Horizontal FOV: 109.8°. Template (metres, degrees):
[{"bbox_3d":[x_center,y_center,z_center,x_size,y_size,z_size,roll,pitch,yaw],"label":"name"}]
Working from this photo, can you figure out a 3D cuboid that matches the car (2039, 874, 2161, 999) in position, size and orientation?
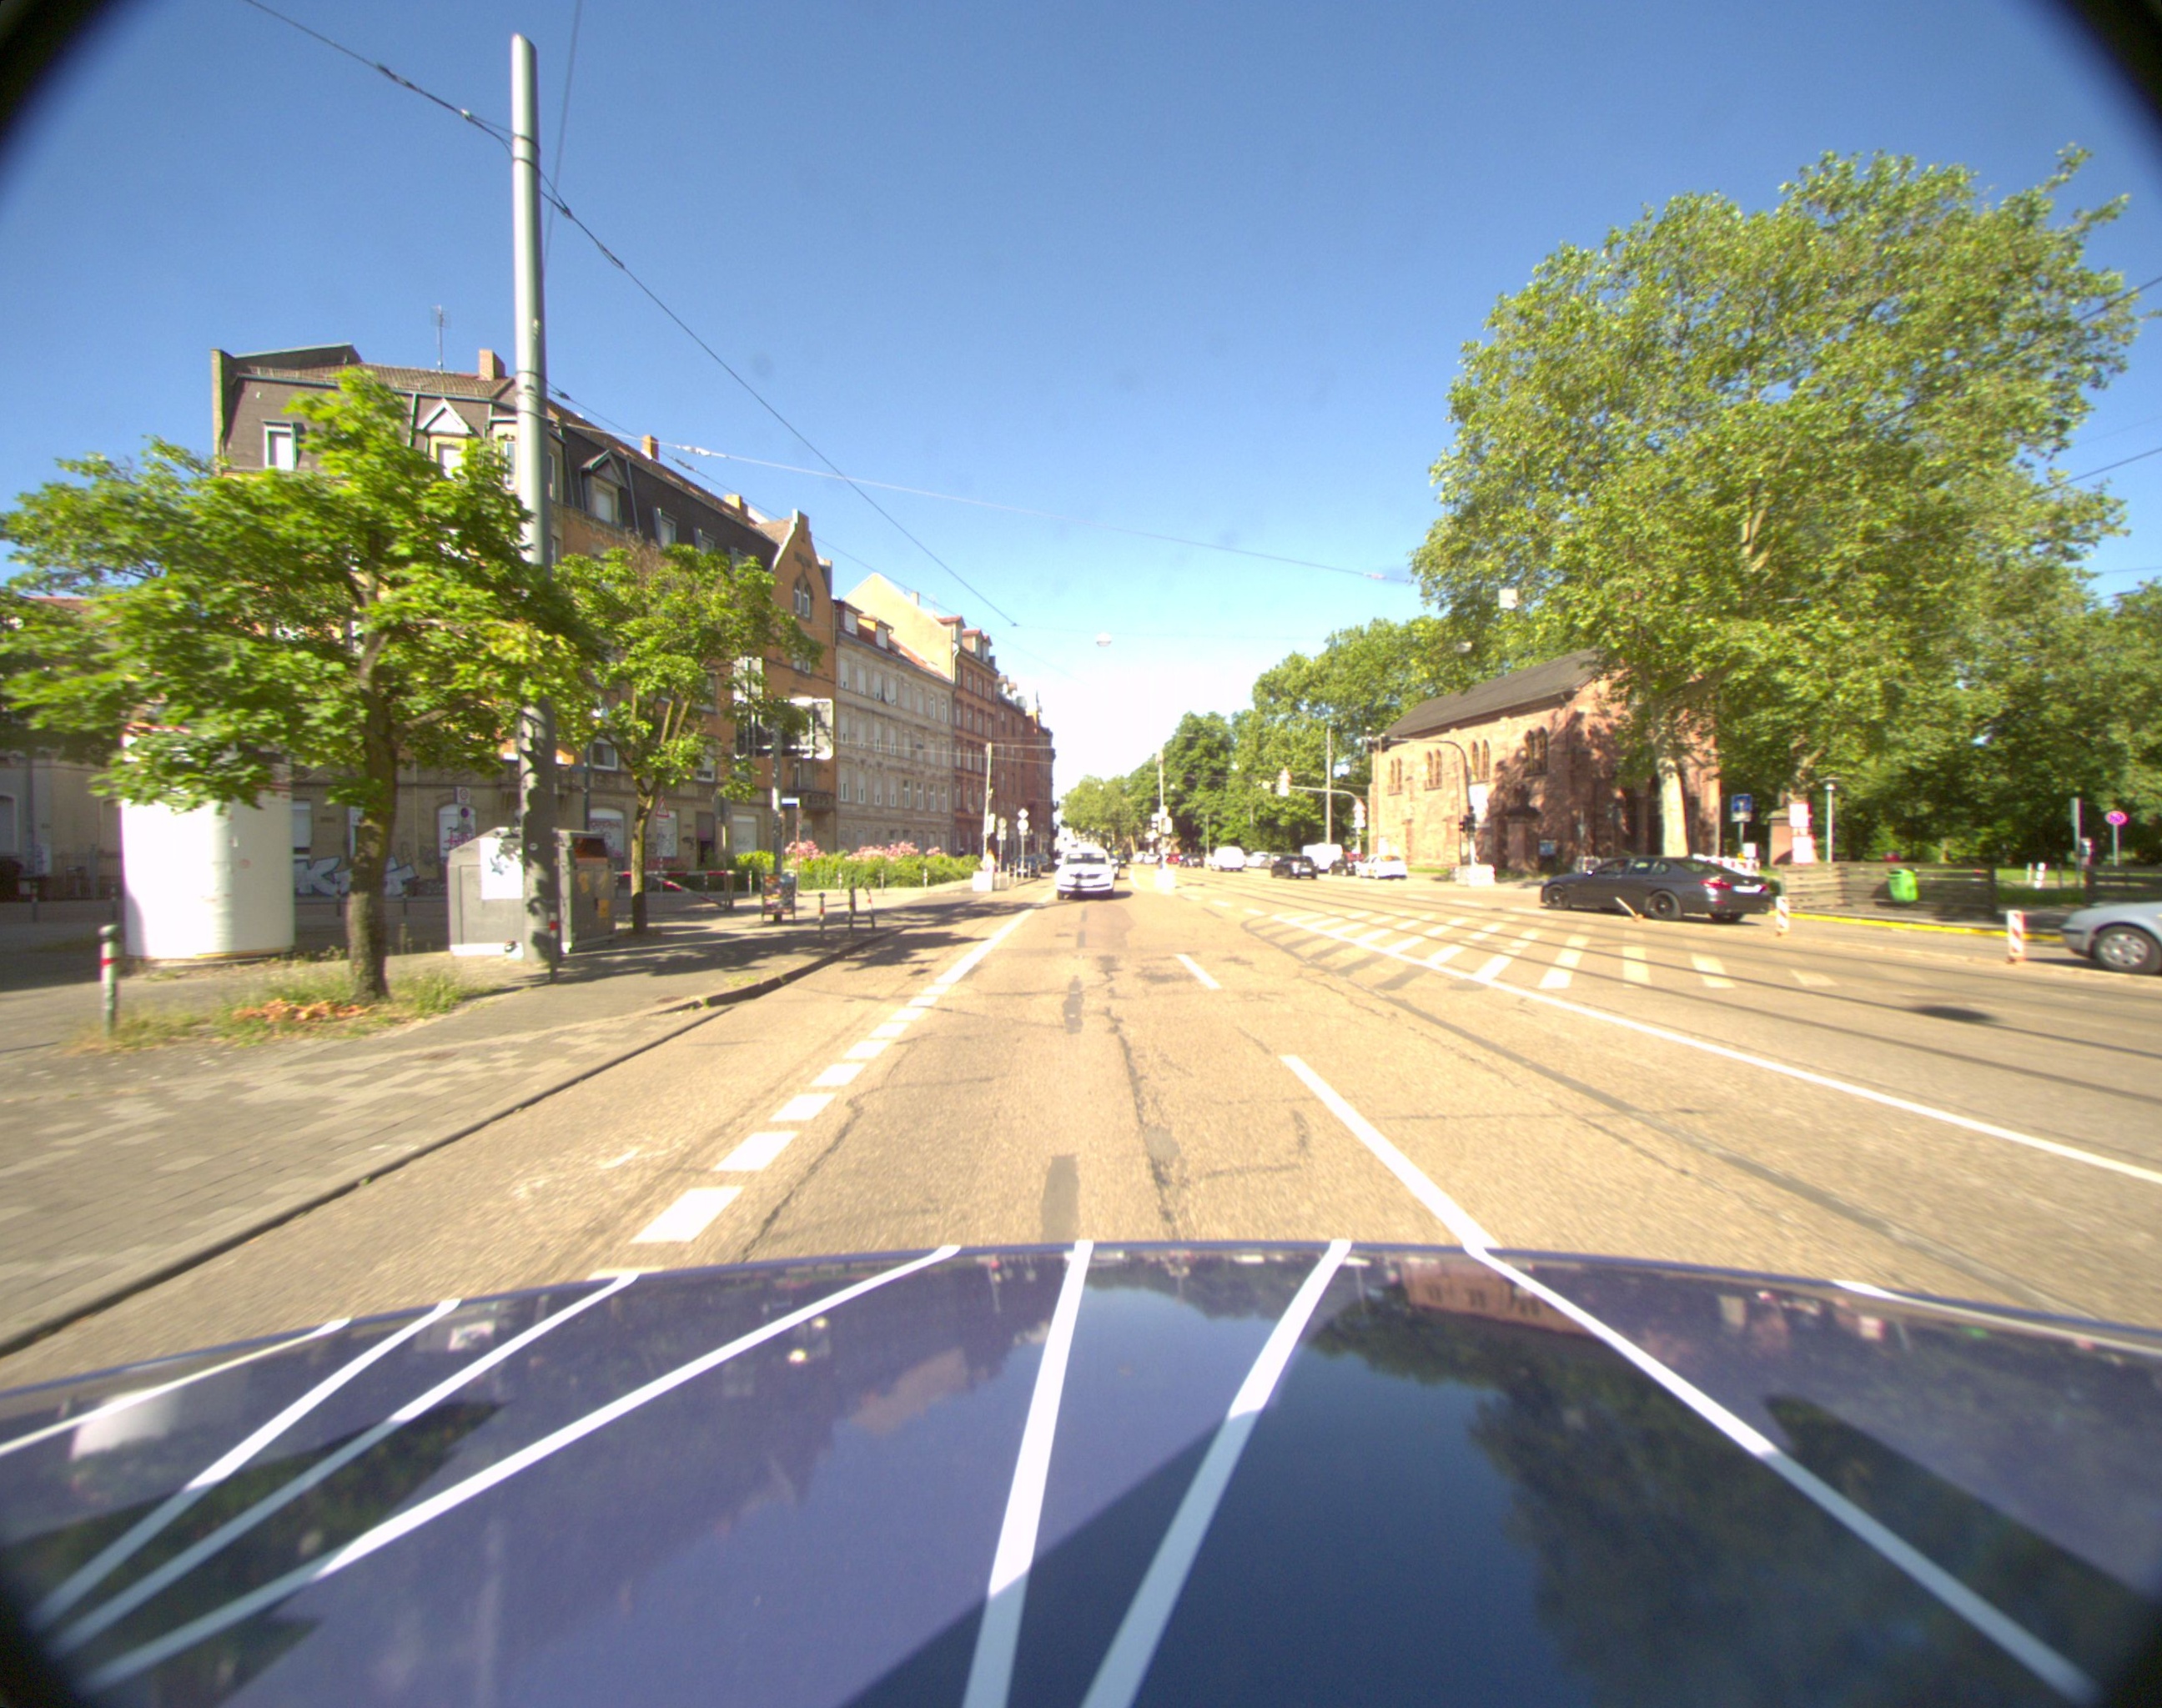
[{"bbox_3d":[13.720,1.017,8.049,1.834,1.444,4.170,1,1,0],"label":"car"}]

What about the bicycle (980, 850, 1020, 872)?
[{"bbox_3d":[-6.025,0.466,57.244,1.968,1.408,6.827,3,1,2],"label":"bicycle"}]

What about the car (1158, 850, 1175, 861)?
[{"bbox_3d":[12.140,0.141,108.422,1.795,1.543,4.306,0,1,-2],"label":"car"}]

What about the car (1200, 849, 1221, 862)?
[{"bbox_3d":[15.697,0.169,92.352,1.795,1.543,4.306,0,1,-2],"label":"car"}]

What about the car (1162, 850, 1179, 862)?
[{"bbox_3d":[12.159,0.216,103.426,1.795,1.543,4.306,0,1,-2],"label":"car"}]

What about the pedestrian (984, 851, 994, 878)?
[{"bbox_3d":[-5.756,0.649,47.461,0.551,1.667,0.687,0,1,-11],"label":"pedestrian"}]

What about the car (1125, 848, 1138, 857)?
[{"bbox_3d":[8.912,-0.273,134.605,1.795,1.543,4.306,0,1,-2],"label":"car"}]

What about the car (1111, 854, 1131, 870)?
[{"bbox_3d":[3.898,0.762,74.118,1.889,1.419,4.377,0,1,4],"label":"car"}]

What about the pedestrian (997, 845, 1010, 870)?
[{"bbox_3d":[-6.433,0.288,63.108,0.844,2.002,1.369,0,1,2],"label":"pedestrian"}]

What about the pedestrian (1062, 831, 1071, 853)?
[{"bbox_3d":[-1.182,-0.958,61.870,0.735,1.784,0.884,0,1,2],"label":"pedestrian"}]

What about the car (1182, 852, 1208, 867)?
[{"bbox_3d":[11.234,0.495,75.132,1.798,1.421,4.375,0,1,-2],"label":"car"}]

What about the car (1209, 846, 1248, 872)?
[{"bbox_3d":[11.530,0.377,59.849,2.066,1.880,4.516,1,0,-1],"label":"car"}]

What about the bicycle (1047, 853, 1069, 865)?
[{"bbox_3d":[-2.250,0.485,74.307,1.917,1.131,0.845,1,1,13],"label":"bicycle"}]

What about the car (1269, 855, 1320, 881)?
[{"bbox_3d":[12.298,0.770,44.019,1.620,1.403,4.087,-1,0,-2],"label":"car"}]

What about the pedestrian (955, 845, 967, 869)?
[{"bbox_3d":[-9.274,0.232,58.743,0.822,1.851,0.703,0,1,-11],"label":"pedestrian"}]

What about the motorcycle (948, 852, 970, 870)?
[{"bbox_3d":[-9.420,0.539,58.718,1.632,1.308,0.716,0,1,-11],"label":"motorcycle"}]

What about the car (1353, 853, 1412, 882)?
[{"bbox_3d":[17.614,0.762,44.559,1.780,1.565,3.676,1,0,-4],"label":"car"}]

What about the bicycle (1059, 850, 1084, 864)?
[{"bbox_3d":[-0.946,0.274,83.692,1.804,1.429,8.781,0,0,6],"label":"bicycle"}]

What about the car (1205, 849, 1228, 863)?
[{"bbox_3d":[15.455,0.197,86.879,1.795,1.543,4.306,0,1,-2],"label":"car"}]

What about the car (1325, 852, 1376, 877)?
[{"bbox_3d":[17.513,0.667,49.578,1.795,1.543,3.859,0,1,-2],"label":"car"}]

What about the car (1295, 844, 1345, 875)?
[{"bbox_3d":[17.059,0.359,54.431,1.921,2.084,4.590,0,1,-3],"label":"car"}]

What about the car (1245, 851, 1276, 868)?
[{"bbox_3d":[16.600,0.501,70.413,1.795,1.543,4.306,0,1,-2],"label":"car"}]

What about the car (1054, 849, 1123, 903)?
[{"bbox_3d":[0.345,0.673,25.792,1.800,1.626,4.396,0,1,8],"label":"car"}]

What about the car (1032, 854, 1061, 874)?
[{"bbox_3d":[-2.801,0.790,62.997,1.764,1.517,4.474,-1,1,5],"label":"car"}]

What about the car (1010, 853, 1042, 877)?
[{"bbox_3d":[-3.534,0.666,49.374,1.683,1.475,4.000,0,1,1],"label":"car"}]

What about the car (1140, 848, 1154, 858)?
[{"bbox_3d":[10.715,-0.199,123.935,1.795,1.543,4.306,0,1,-2],"label":"car"}]

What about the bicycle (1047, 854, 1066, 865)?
[{"bbox_3d":[-2.456,0.511,76.036,1.801,1.053,0.655,1,1,11],"label":"bicycle"}]

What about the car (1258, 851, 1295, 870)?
[{"bbox_3d":[16.687,0.518,64.987,1.795,1.543,4.305,0,1,-3],"label":"car"}]

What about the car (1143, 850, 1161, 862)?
[{"bbox_3d":[9.108,0.222,98.032,1.798,1.421,4.375,0,1,-2],"label":"car"}]

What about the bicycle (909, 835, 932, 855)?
[{"bbox_3d":[-10.485,-0.589,49.585,0.956,1.278,2.237,0,1,2],"label":"bicycle"}]

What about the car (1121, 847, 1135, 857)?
[{"bbox_3d":[7.268,-0.307,118.552,1.798,1.421,4.375,0,1,-2],"label":"car"}]

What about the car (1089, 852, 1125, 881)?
[{"bbox_3d":[1.530,0.734,44.387,1.998,1.607,4.265,0,-1,3],"label":"car"}]

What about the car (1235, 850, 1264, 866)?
[{"bbox_3d":[16.739,0.397,75.483,1.795,1.543,4.306,0,1,-2],"label":"car"}]

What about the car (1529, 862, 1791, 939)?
[{"bbox_3d":[13.364,0.986,18.041,1.836,1.444,4.955,1,1,-11],"label":"car"}]

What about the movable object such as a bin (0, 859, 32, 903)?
[{"bbox_3d":[-36.098,0.889,25.163,1.218,1.436,1.034,0,1,-6],"label":"movable object such as a bin"}]
